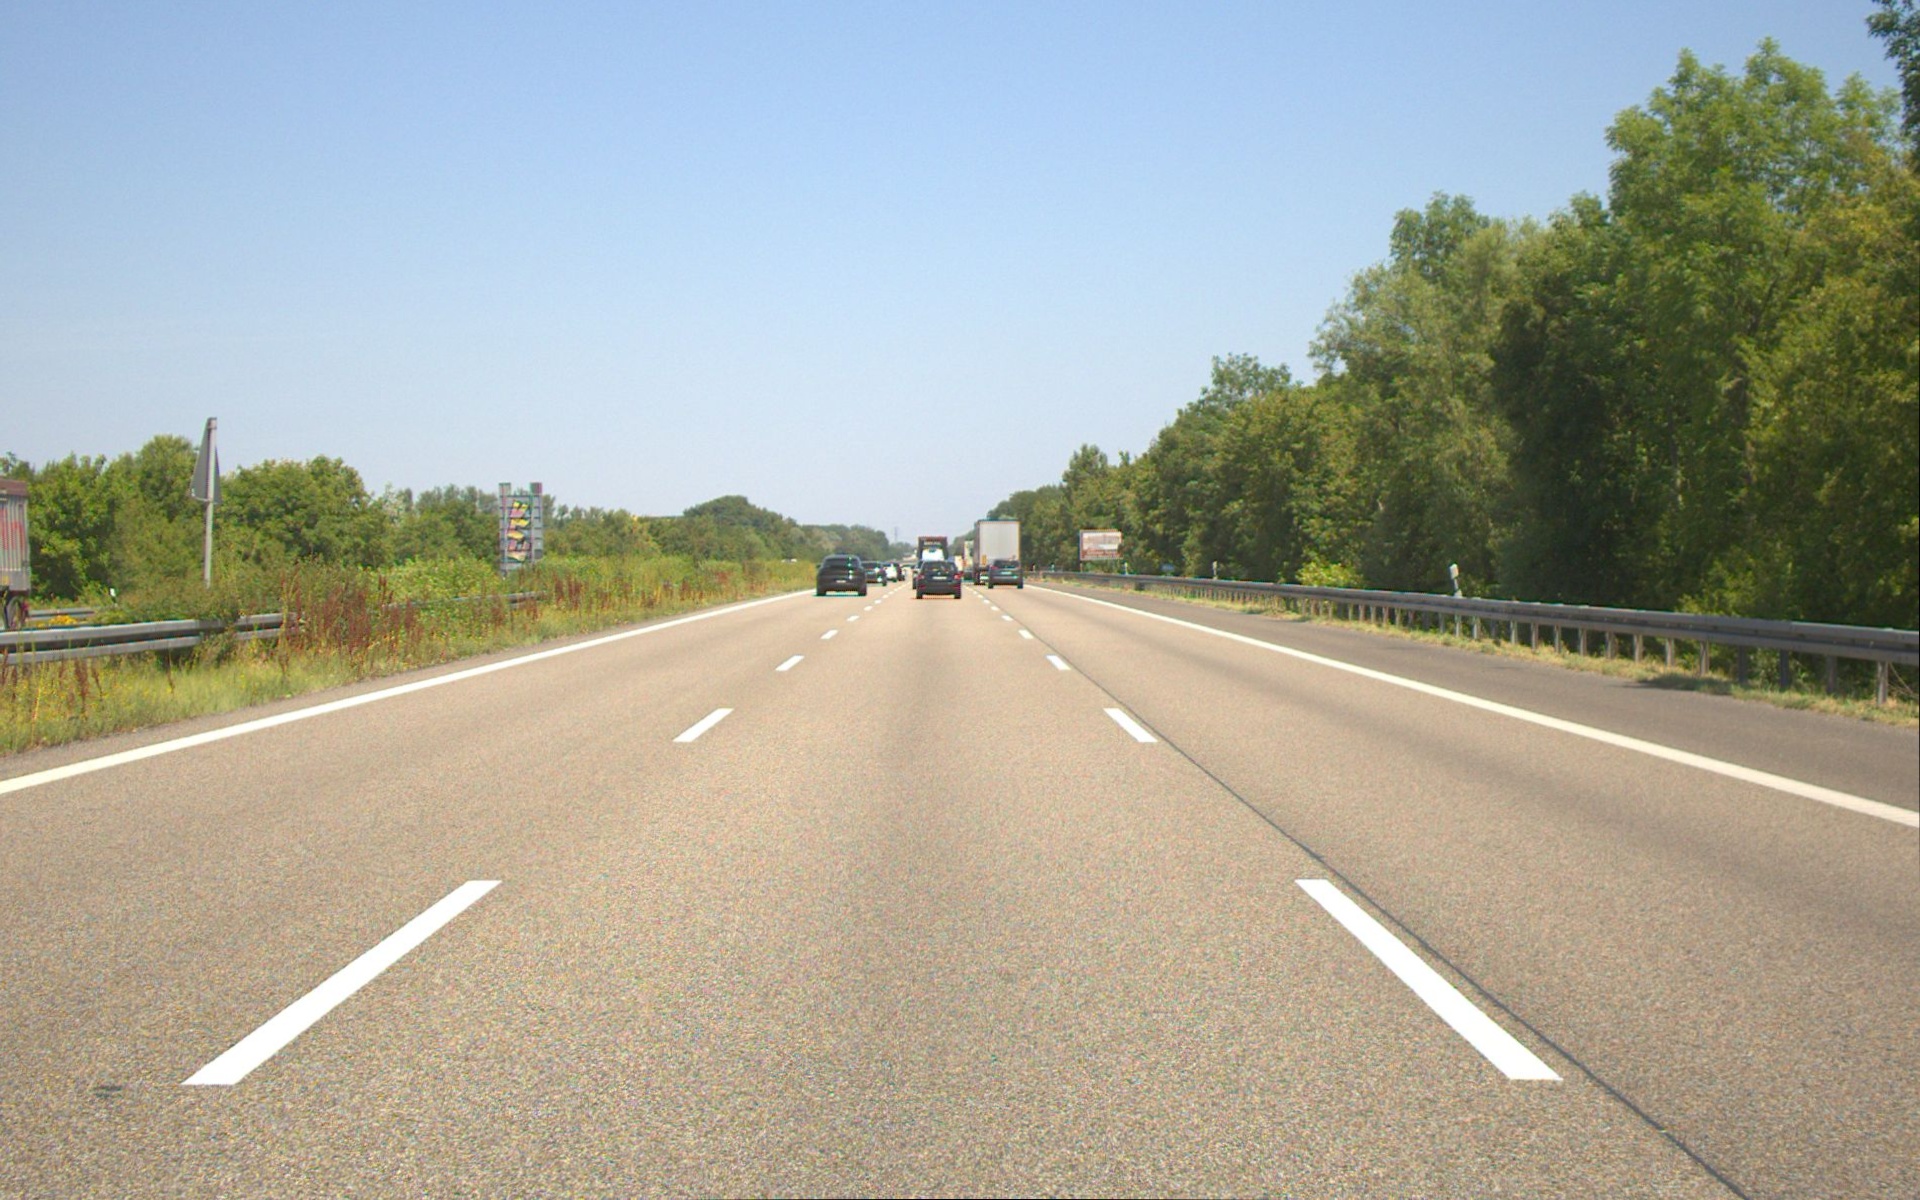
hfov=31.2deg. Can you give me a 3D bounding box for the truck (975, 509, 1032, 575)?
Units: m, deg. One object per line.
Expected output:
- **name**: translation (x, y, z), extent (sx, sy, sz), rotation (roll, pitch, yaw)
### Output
- **truck**: translation (2.659, -3.617, 214.773), extent (3.385, 3.957, 9.537), rotation (-1, 1, 0)

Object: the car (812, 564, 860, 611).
- **car**: translation (-5.038, -0.532, 140.177), extent (1.880, 1.786, 4.001), rotation (0, 2, -1)

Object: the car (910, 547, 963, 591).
- **car**: translation (-0.867, -1.186, 128.973), extent (1.903, 1.578, 4.304), rotation (-1, 1, 0)

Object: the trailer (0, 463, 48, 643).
- **trailer**: translation (-22.048, -0.947, 71.644), extent (3.078, 3.856, 10.907), rotation (-1, 1, 0)

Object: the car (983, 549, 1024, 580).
- **car**: translation (2.329, -1.918, 183.775), extent (2.128, 1.578, 4.304), rotation (-1, 1, 0)

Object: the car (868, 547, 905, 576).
- **car**: translation (-4.440, -2.343, 208.406), extent (2.128, 1.640, 4.304), rotation (-1, 1, 0)
